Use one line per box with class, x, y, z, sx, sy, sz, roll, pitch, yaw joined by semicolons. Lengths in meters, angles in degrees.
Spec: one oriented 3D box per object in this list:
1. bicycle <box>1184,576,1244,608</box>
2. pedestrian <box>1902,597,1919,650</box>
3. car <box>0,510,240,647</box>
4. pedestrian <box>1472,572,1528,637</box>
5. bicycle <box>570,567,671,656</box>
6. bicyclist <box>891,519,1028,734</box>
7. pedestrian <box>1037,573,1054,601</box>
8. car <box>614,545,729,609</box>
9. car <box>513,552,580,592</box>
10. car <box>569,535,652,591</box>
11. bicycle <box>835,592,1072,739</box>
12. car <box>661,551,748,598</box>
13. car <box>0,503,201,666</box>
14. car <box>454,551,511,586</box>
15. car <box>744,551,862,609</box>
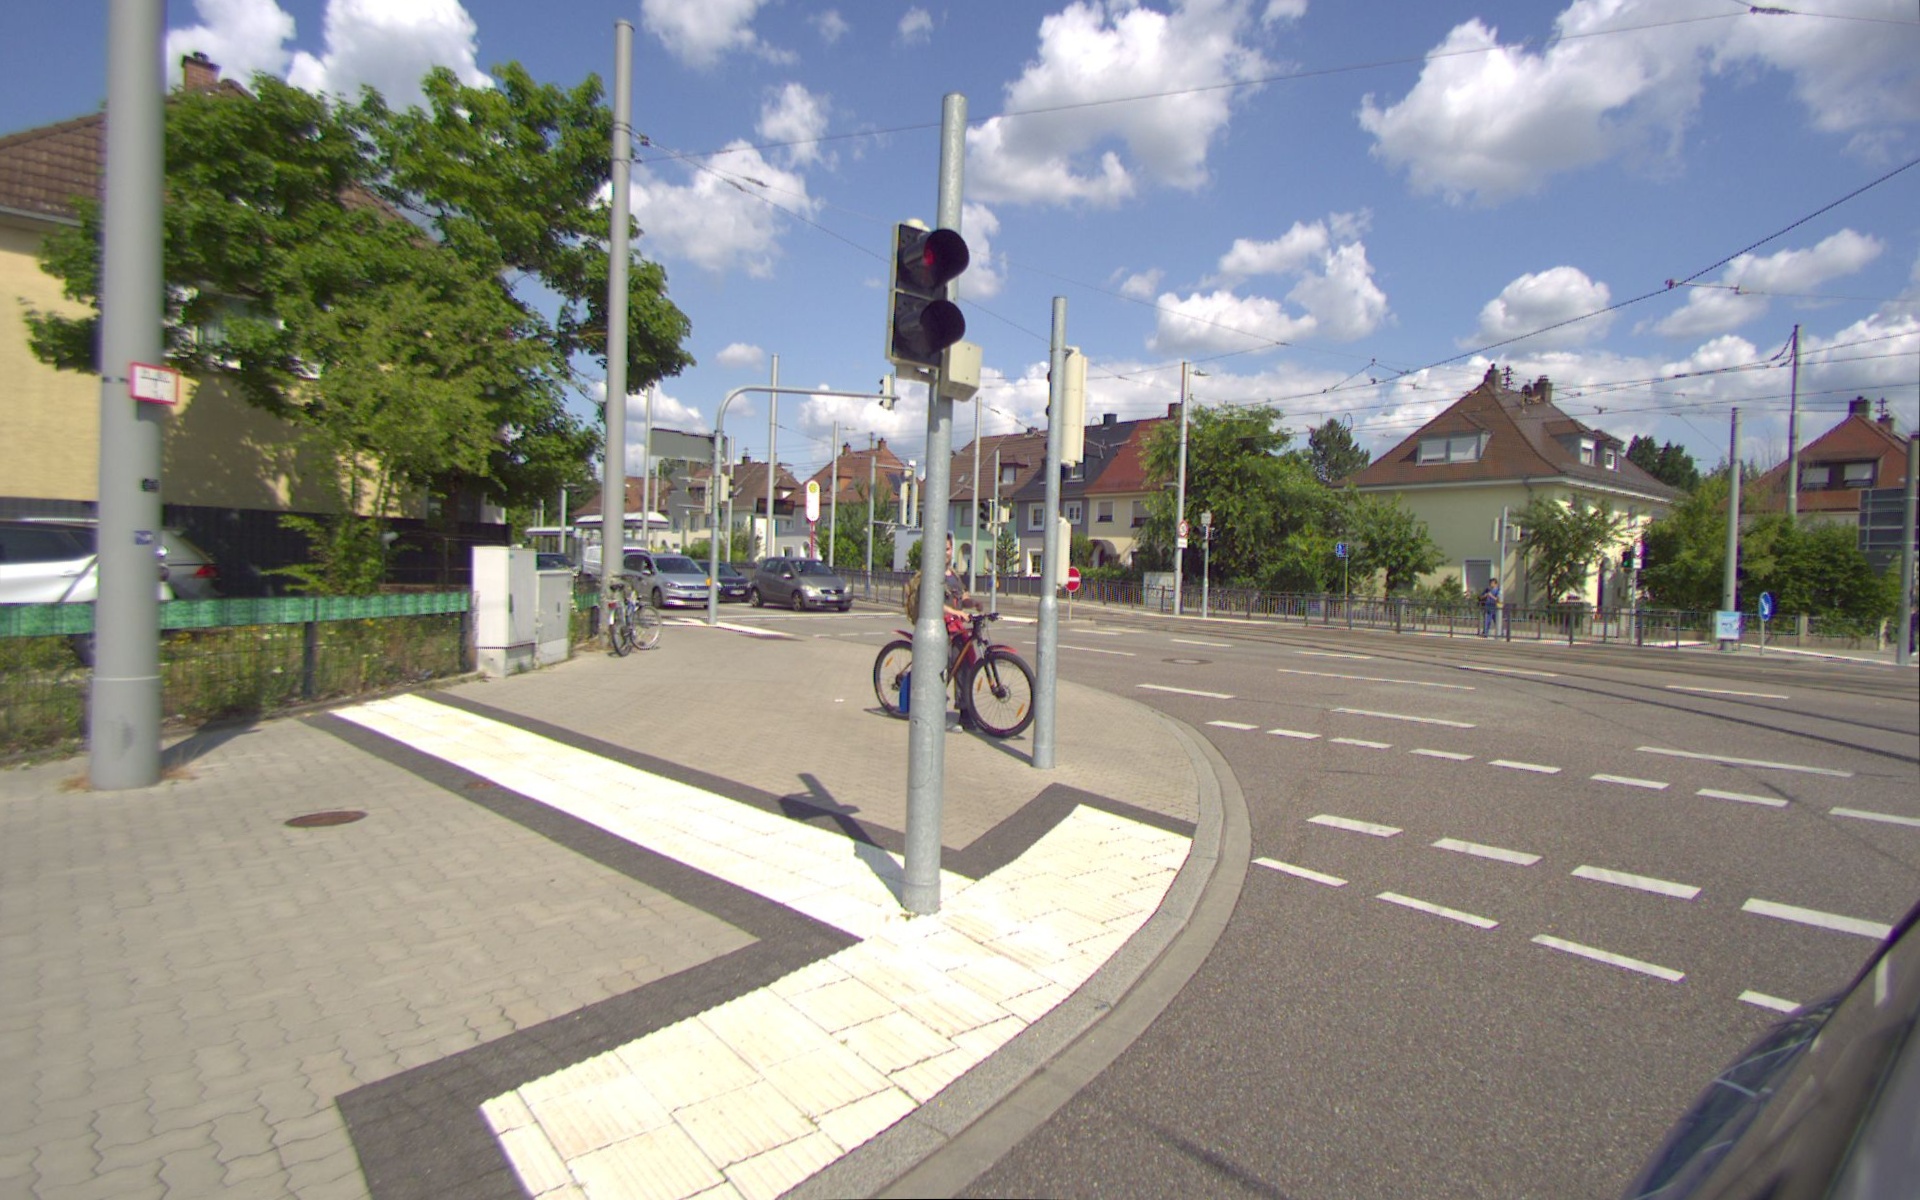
bicycle;11.884;-0.380;47.405;0.612;1.351;2.796;1;2;-43
pedestrian;33.013;0.810;34.650;0.918;1.789;0.594;3;1;-11
car;-11.870;-0.309;13.092;1.823;1.640;3.937;3;3;44
pedestrian;15.327;0.122;28.711;1.022;1.756;1.032;2;1;-40
bicycle;-4.658;0.123;14.023;0.689;1.118;1.807;2;1;3
bicyclist;0.001;0.202;9.033;0.952;1.797;0.712;2;1;28
pedestrian;4.557;-0.712;53.756;0.673;1.450;0.516;2;1;-28
car;-8.610;-0.708;29.963;1.903;1.713;3.999;1;2;-38
car;-16.273;-1.123;39.755;1.532;1.447;3.590;1;2;-37
car;-14.651;-1.575;42.286;1.781;2.186;4.846;1;2;-37
bicycle;-0.078;0.526;9.054;2.015;1.115;0.708;3;2;28
car;-8.881;-0.895;34.972;1.547;1.464;3.721;1;2;-37
car;-10.526;-0.194;10.576;1.823;1.640;3.937;3;3;44
car;-27.880;-1.829;59.007;1.965;1.905;3.995;1;1;-41
car;-4.806;-0.633;30.563;1.808;1.588;3.999;1;2;-37
